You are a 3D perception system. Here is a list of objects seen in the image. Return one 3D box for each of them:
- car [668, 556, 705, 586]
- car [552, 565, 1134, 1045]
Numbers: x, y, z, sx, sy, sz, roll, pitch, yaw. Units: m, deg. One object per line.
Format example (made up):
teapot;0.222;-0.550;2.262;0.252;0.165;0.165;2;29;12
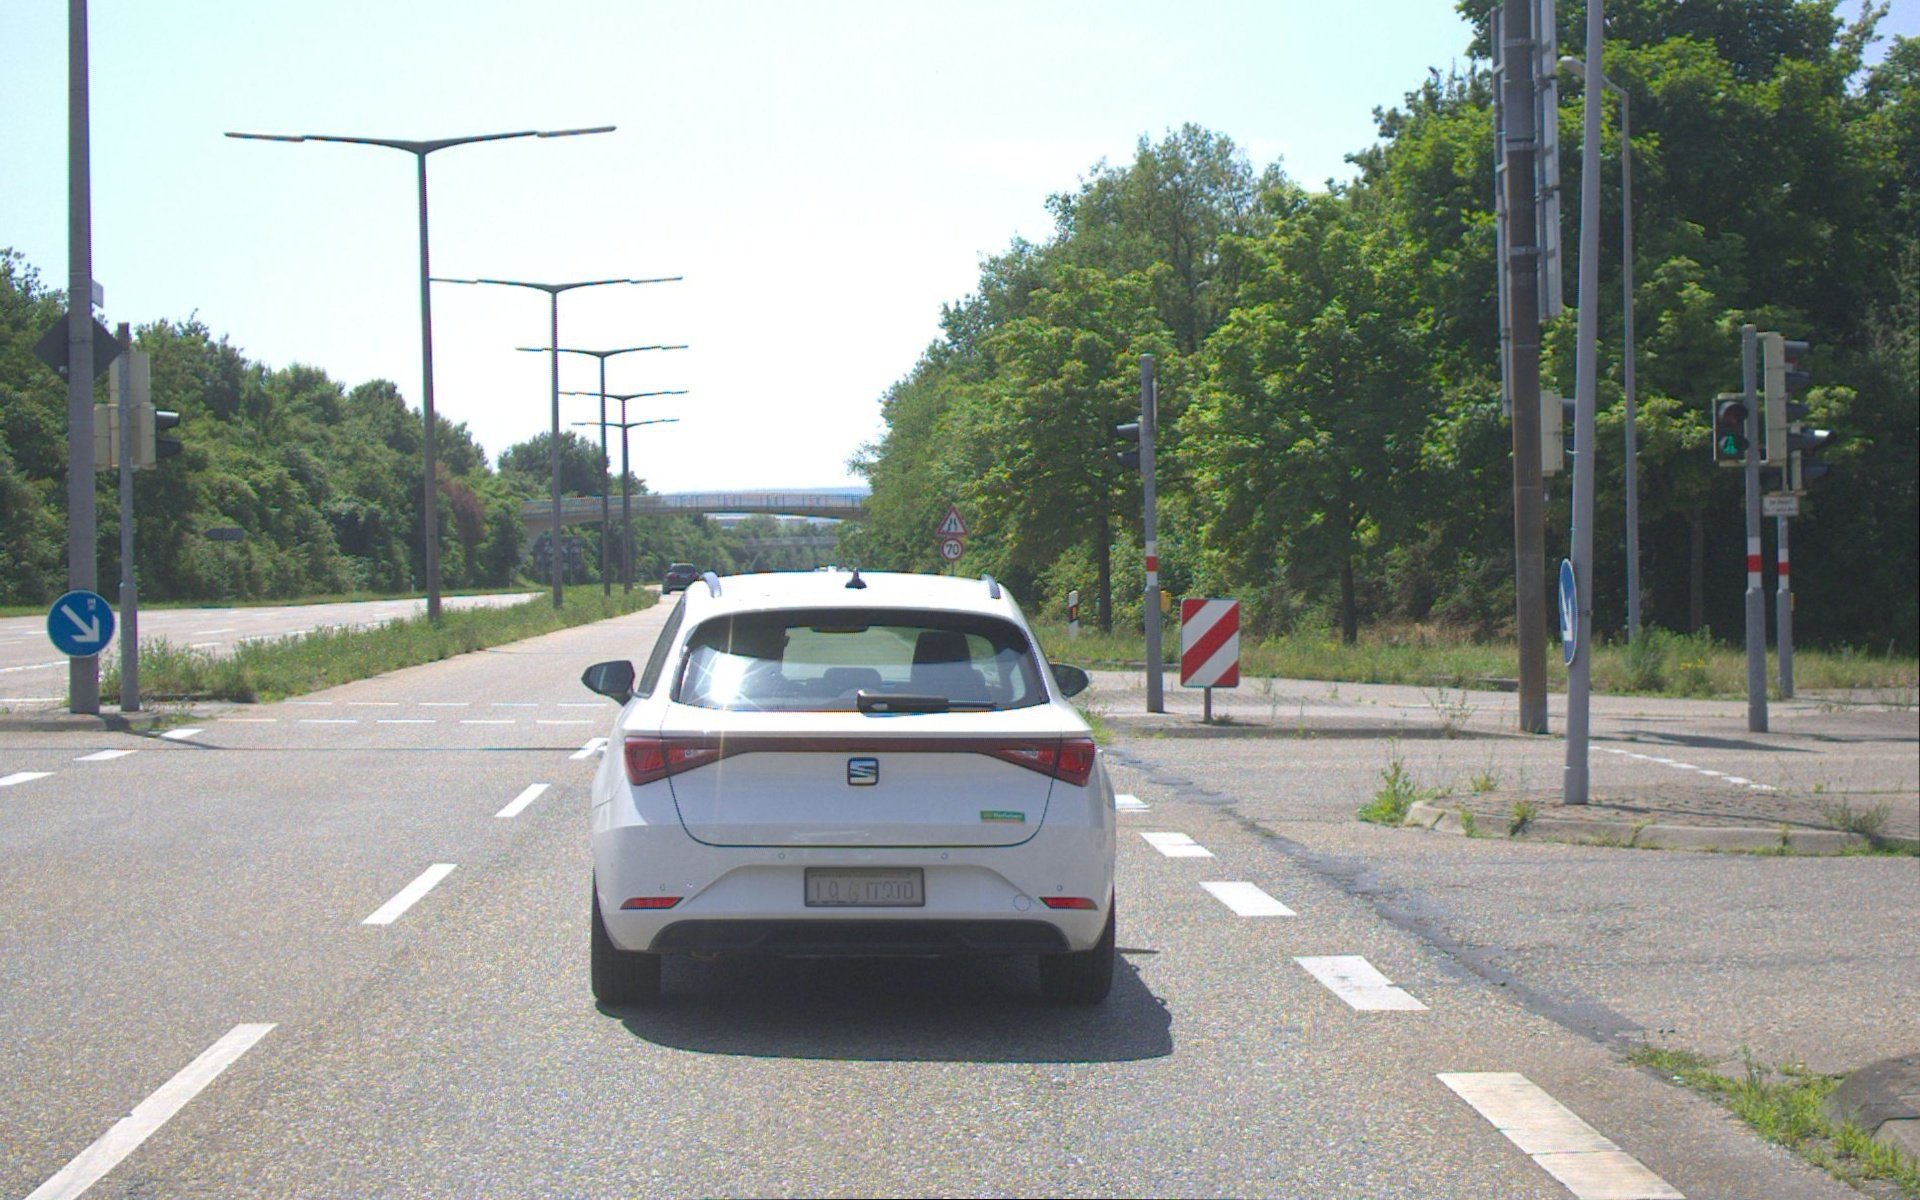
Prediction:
car;-16.067;-1.710;202.202;1.855;1.703;4.000;-1;1;0
car;-0.417;0.626;12.294;1.734;1.424;3.695;1;0;-2
